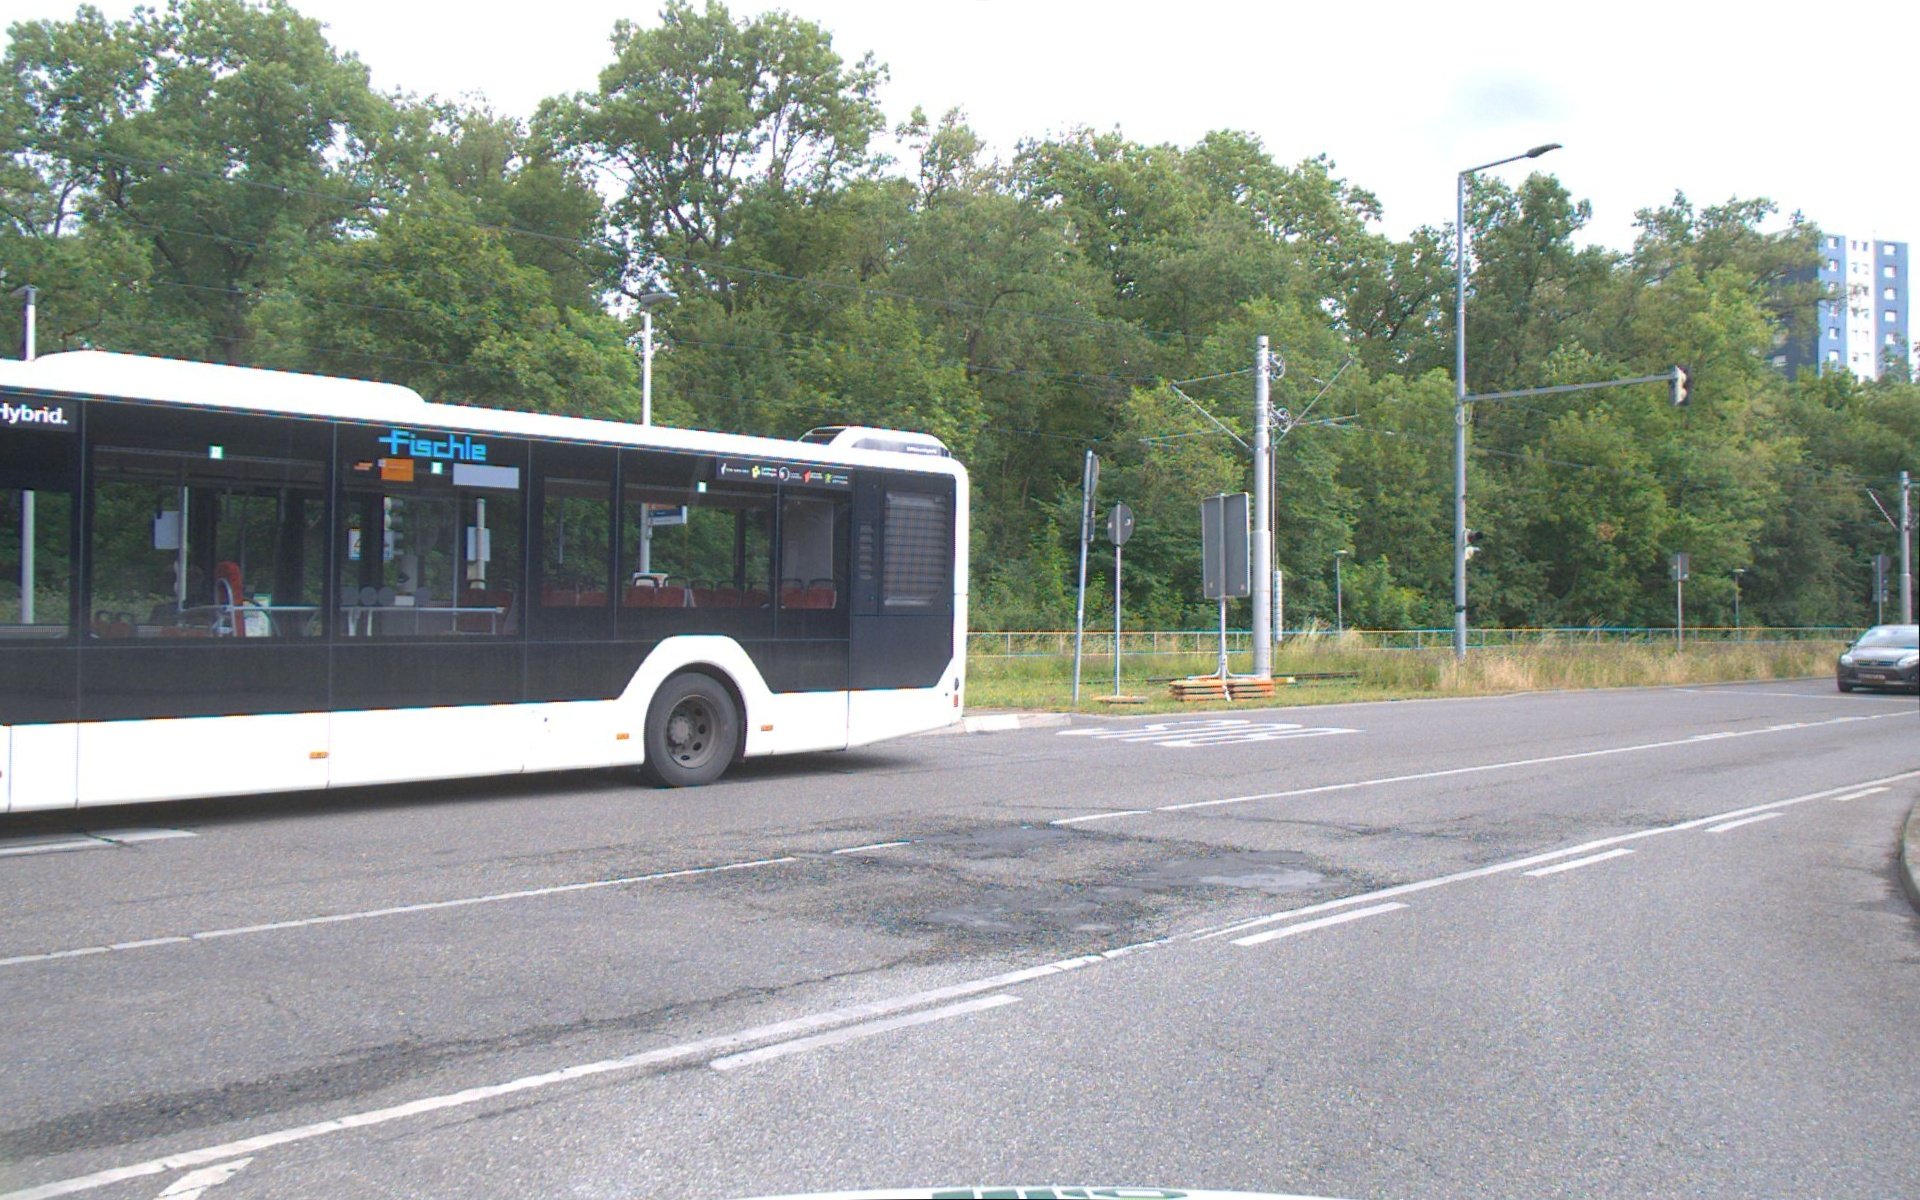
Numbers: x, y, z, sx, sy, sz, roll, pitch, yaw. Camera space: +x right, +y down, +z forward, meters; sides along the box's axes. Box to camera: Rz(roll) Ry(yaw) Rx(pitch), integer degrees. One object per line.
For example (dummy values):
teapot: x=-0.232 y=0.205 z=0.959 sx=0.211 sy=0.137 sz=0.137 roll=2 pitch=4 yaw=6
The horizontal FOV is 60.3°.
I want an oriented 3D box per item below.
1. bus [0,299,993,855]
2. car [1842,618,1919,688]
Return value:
bus: x=-4.796 y=-0.099 z=12.482 sx=2.629 sy=3.259 sz=12.115 roll=-1 pitch=-1 yaw=44
car: x=21.119 y=1.148 z=36.692 sx=1.730 sy=1.460 sz=4.400 roll=0 pitch=-1 yaw=42
